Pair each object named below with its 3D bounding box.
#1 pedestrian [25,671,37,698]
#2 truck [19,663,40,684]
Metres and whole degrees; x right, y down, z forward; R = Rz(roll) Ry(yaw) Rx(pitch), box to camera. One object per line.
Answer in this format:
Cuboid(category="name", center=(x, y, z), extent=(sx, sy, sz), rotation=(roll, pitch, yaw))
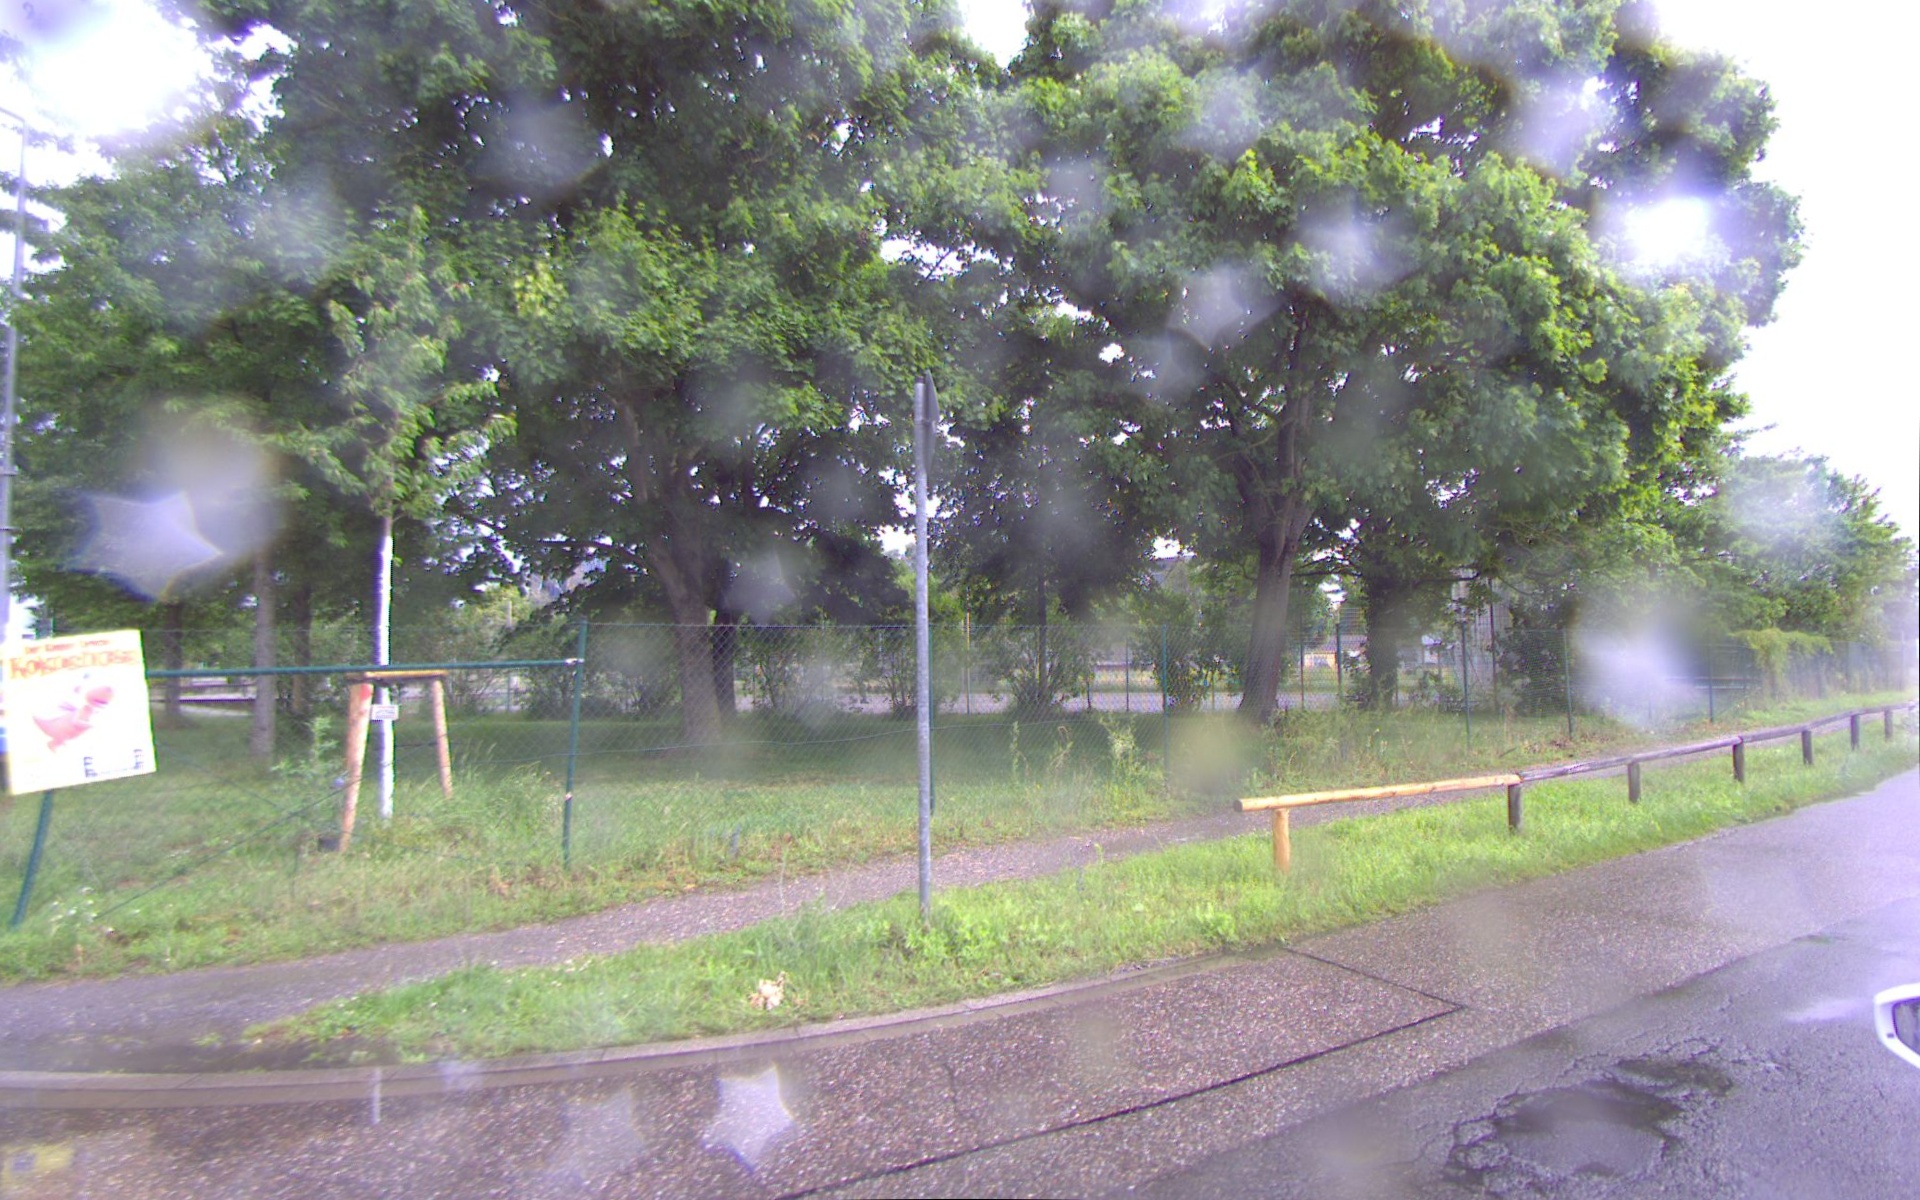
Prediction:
Cuboid(category="pedestrian", center=(-58.905, 5.369, 63.675), extent=(0.507, 1.685, 0.489), rotation=(1, -4, -40))
Cuboid(category="truck", center=(-122.534, 9.703, 132.285), extent=(1.963, 2.385, 6.374), rotation=(1, -1, -43))
